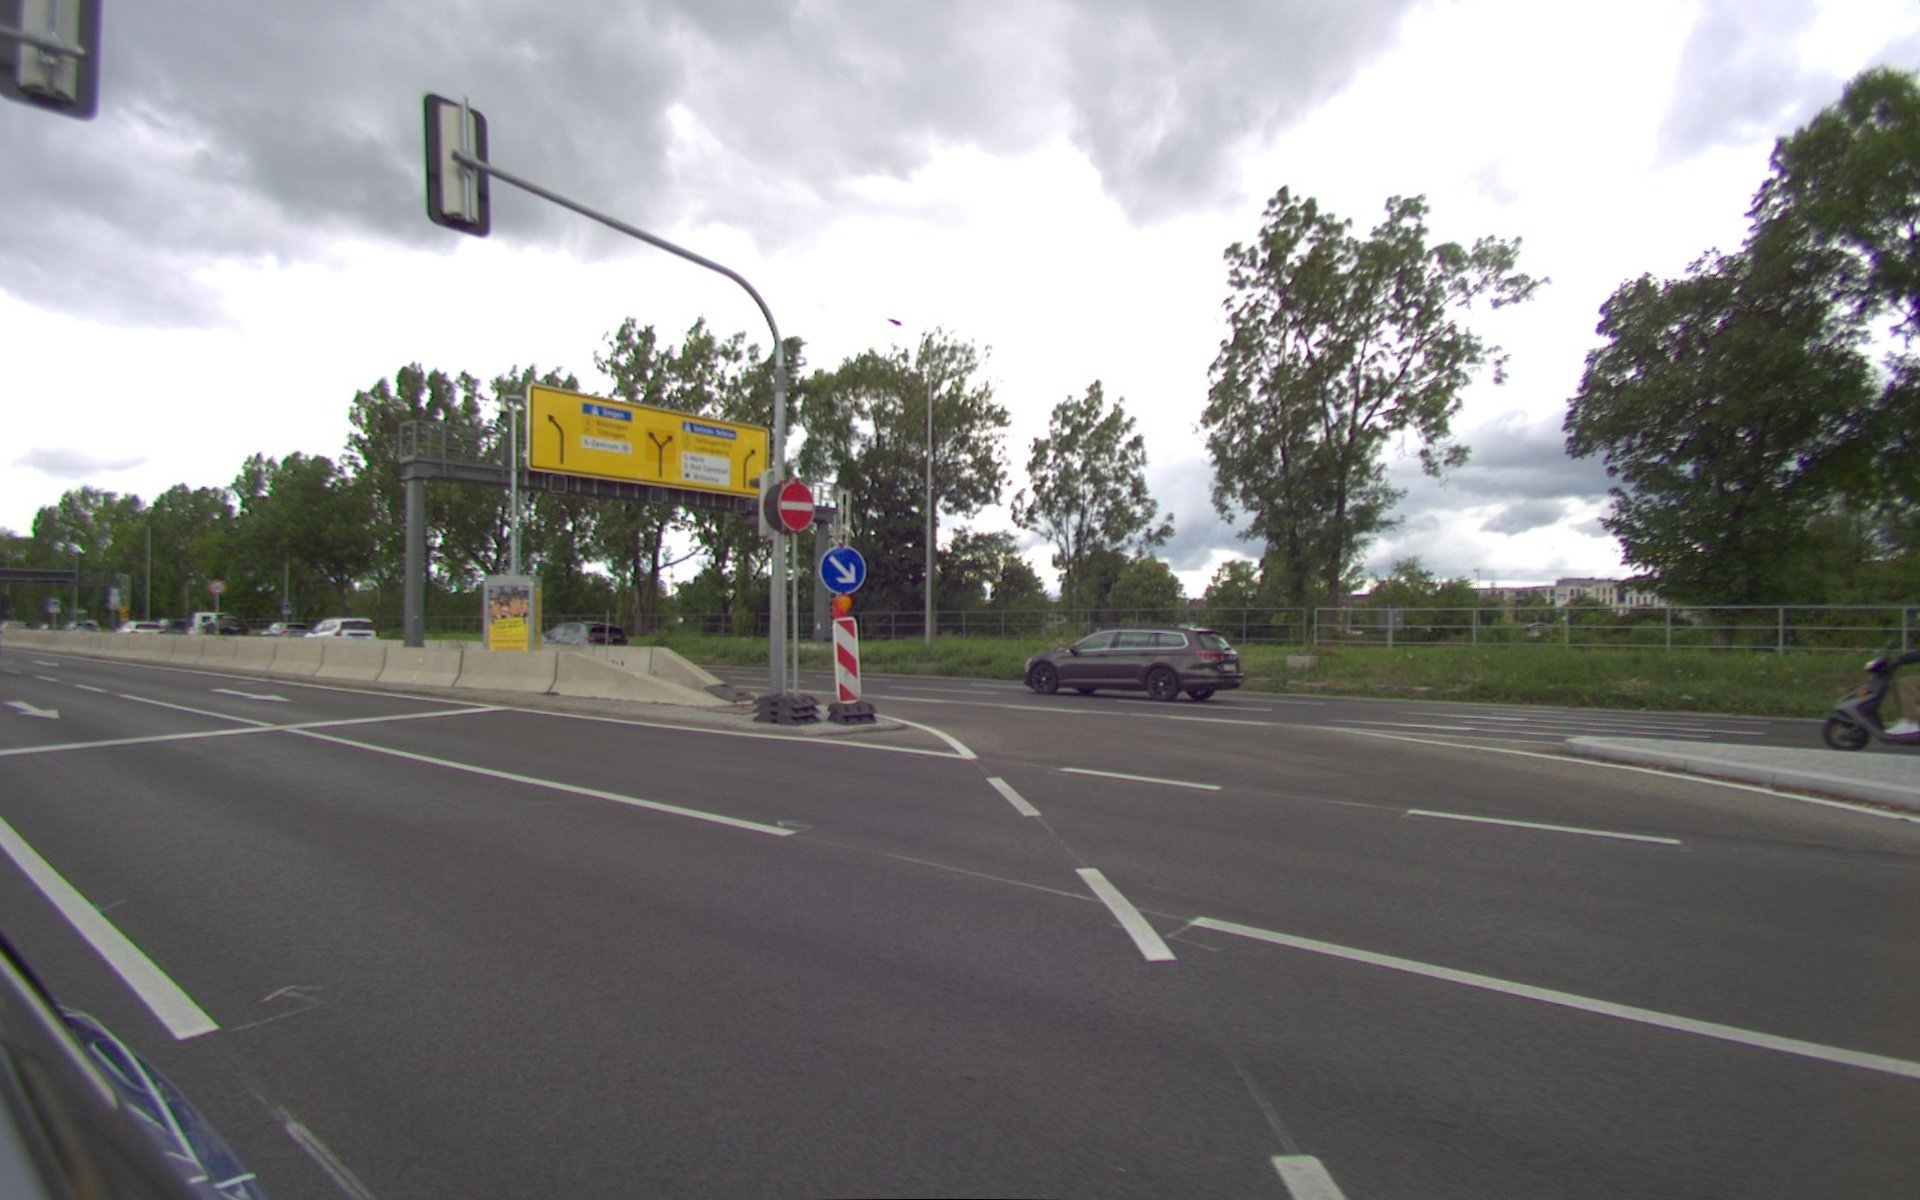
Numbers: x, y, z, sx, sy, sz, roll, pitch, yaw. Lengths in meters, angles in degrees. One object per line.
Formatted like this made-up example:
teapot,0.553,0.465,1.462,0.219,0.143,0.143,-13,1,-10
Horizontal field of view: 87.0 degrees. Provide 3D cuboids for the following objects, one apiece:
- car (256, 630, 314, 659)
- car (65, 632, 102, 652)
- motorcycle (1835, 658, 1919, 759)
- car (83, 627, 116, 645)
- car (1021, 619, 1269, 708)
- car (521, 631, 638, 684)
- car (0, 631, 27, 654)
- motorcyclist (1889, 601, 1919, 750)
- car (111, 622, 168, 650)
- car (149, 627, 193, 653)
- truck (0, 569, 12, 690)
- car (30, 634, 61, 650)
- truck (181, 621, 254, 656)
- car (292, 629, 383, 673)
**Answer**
car,-43.119,2.838,64.611,4.409,1.697,1.973,-2,0,40
car,-78.463,3.769,90.573,4.123,1.695,1.859,-2,0,41
motorcycle,10.622,1.145,10.603,2.162,0.996,0.903,-2,0,41
car,-87.089,3.659,102.408,4.119,1.695,1.859,-2,0,41
car,3.672,1.229,20.587,4.563,1.562,1.974,-2,0,40
car,-13.364,2.031,35.481,4.284,1.669,1.973,-4,-1,40
car,-88.977,3.957,94.635,4.678,2.029,1.973,-2,0,41
motorcyclist,10.543,0.779,10.685,0.980,1.533,0.903,-3,-1,41
car,-52.279,2.302,64.451,4.692,1.681,1.973,-2,0,40
car,-65.347,3.330,83.799,4.933,2.029,1.973,-2,0,41
truck,-28.796,0.901,27.870,8.379,3.106,2.906,-2,-1,40
car,-104.369,4.763,115.506,4.465,1.752,1.974,-2,0,40
truck,-46.424,2.421,63.179,6.295,2.029,2.182,-2,0,40
car,-26.169,2.123,42.511,4.409,1.697,1.973,-2,0,40
